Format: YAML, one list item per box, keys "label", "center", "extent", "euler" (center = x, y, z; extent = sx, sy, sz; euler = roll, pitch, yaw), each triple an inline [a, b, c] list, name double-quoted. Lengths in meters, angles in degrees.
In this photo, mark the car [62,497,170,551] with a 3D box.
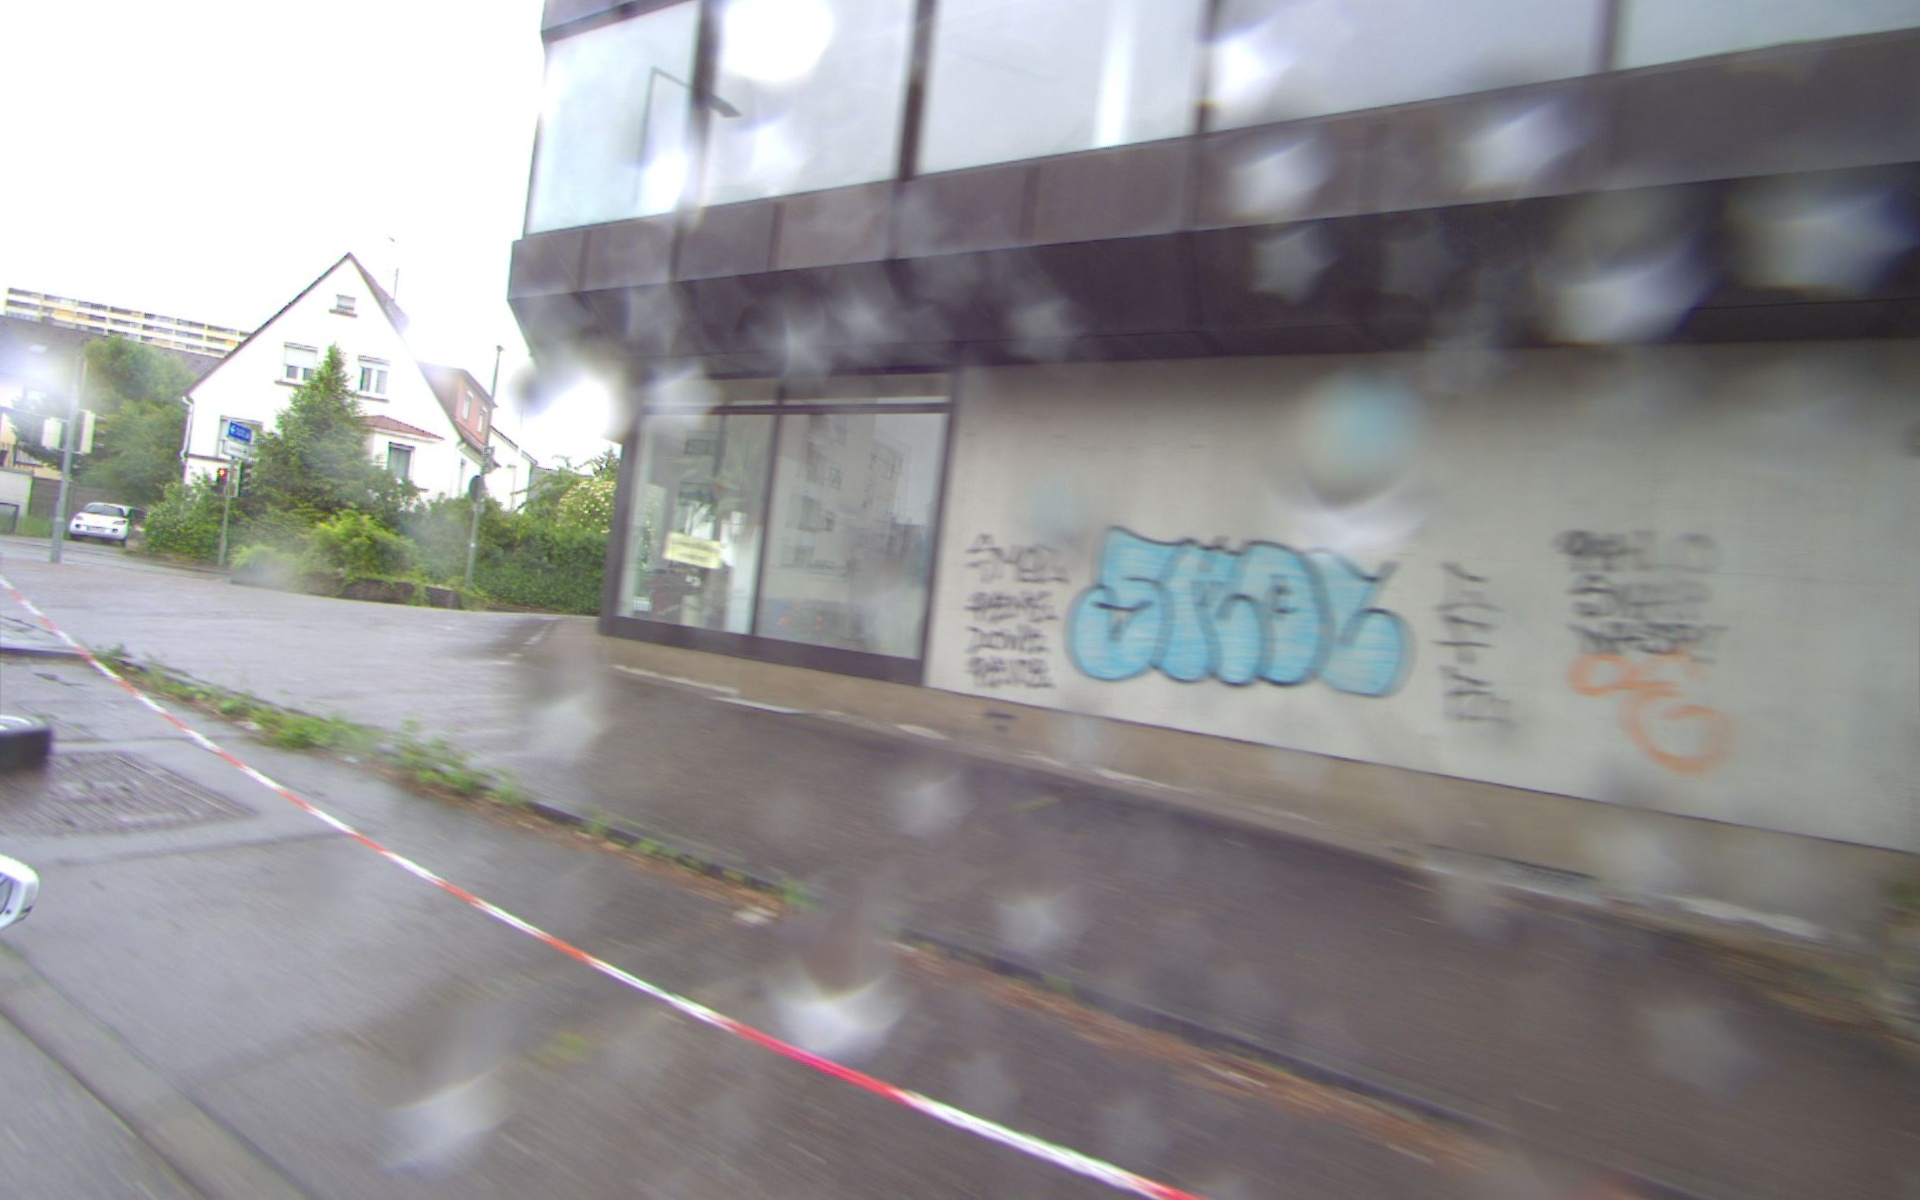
- label: "car"
  center: [-30.901, -2.751, 36.976]
  extent: [1.722, 1.532, 3.980]
  euler: [9, -1, -21]
